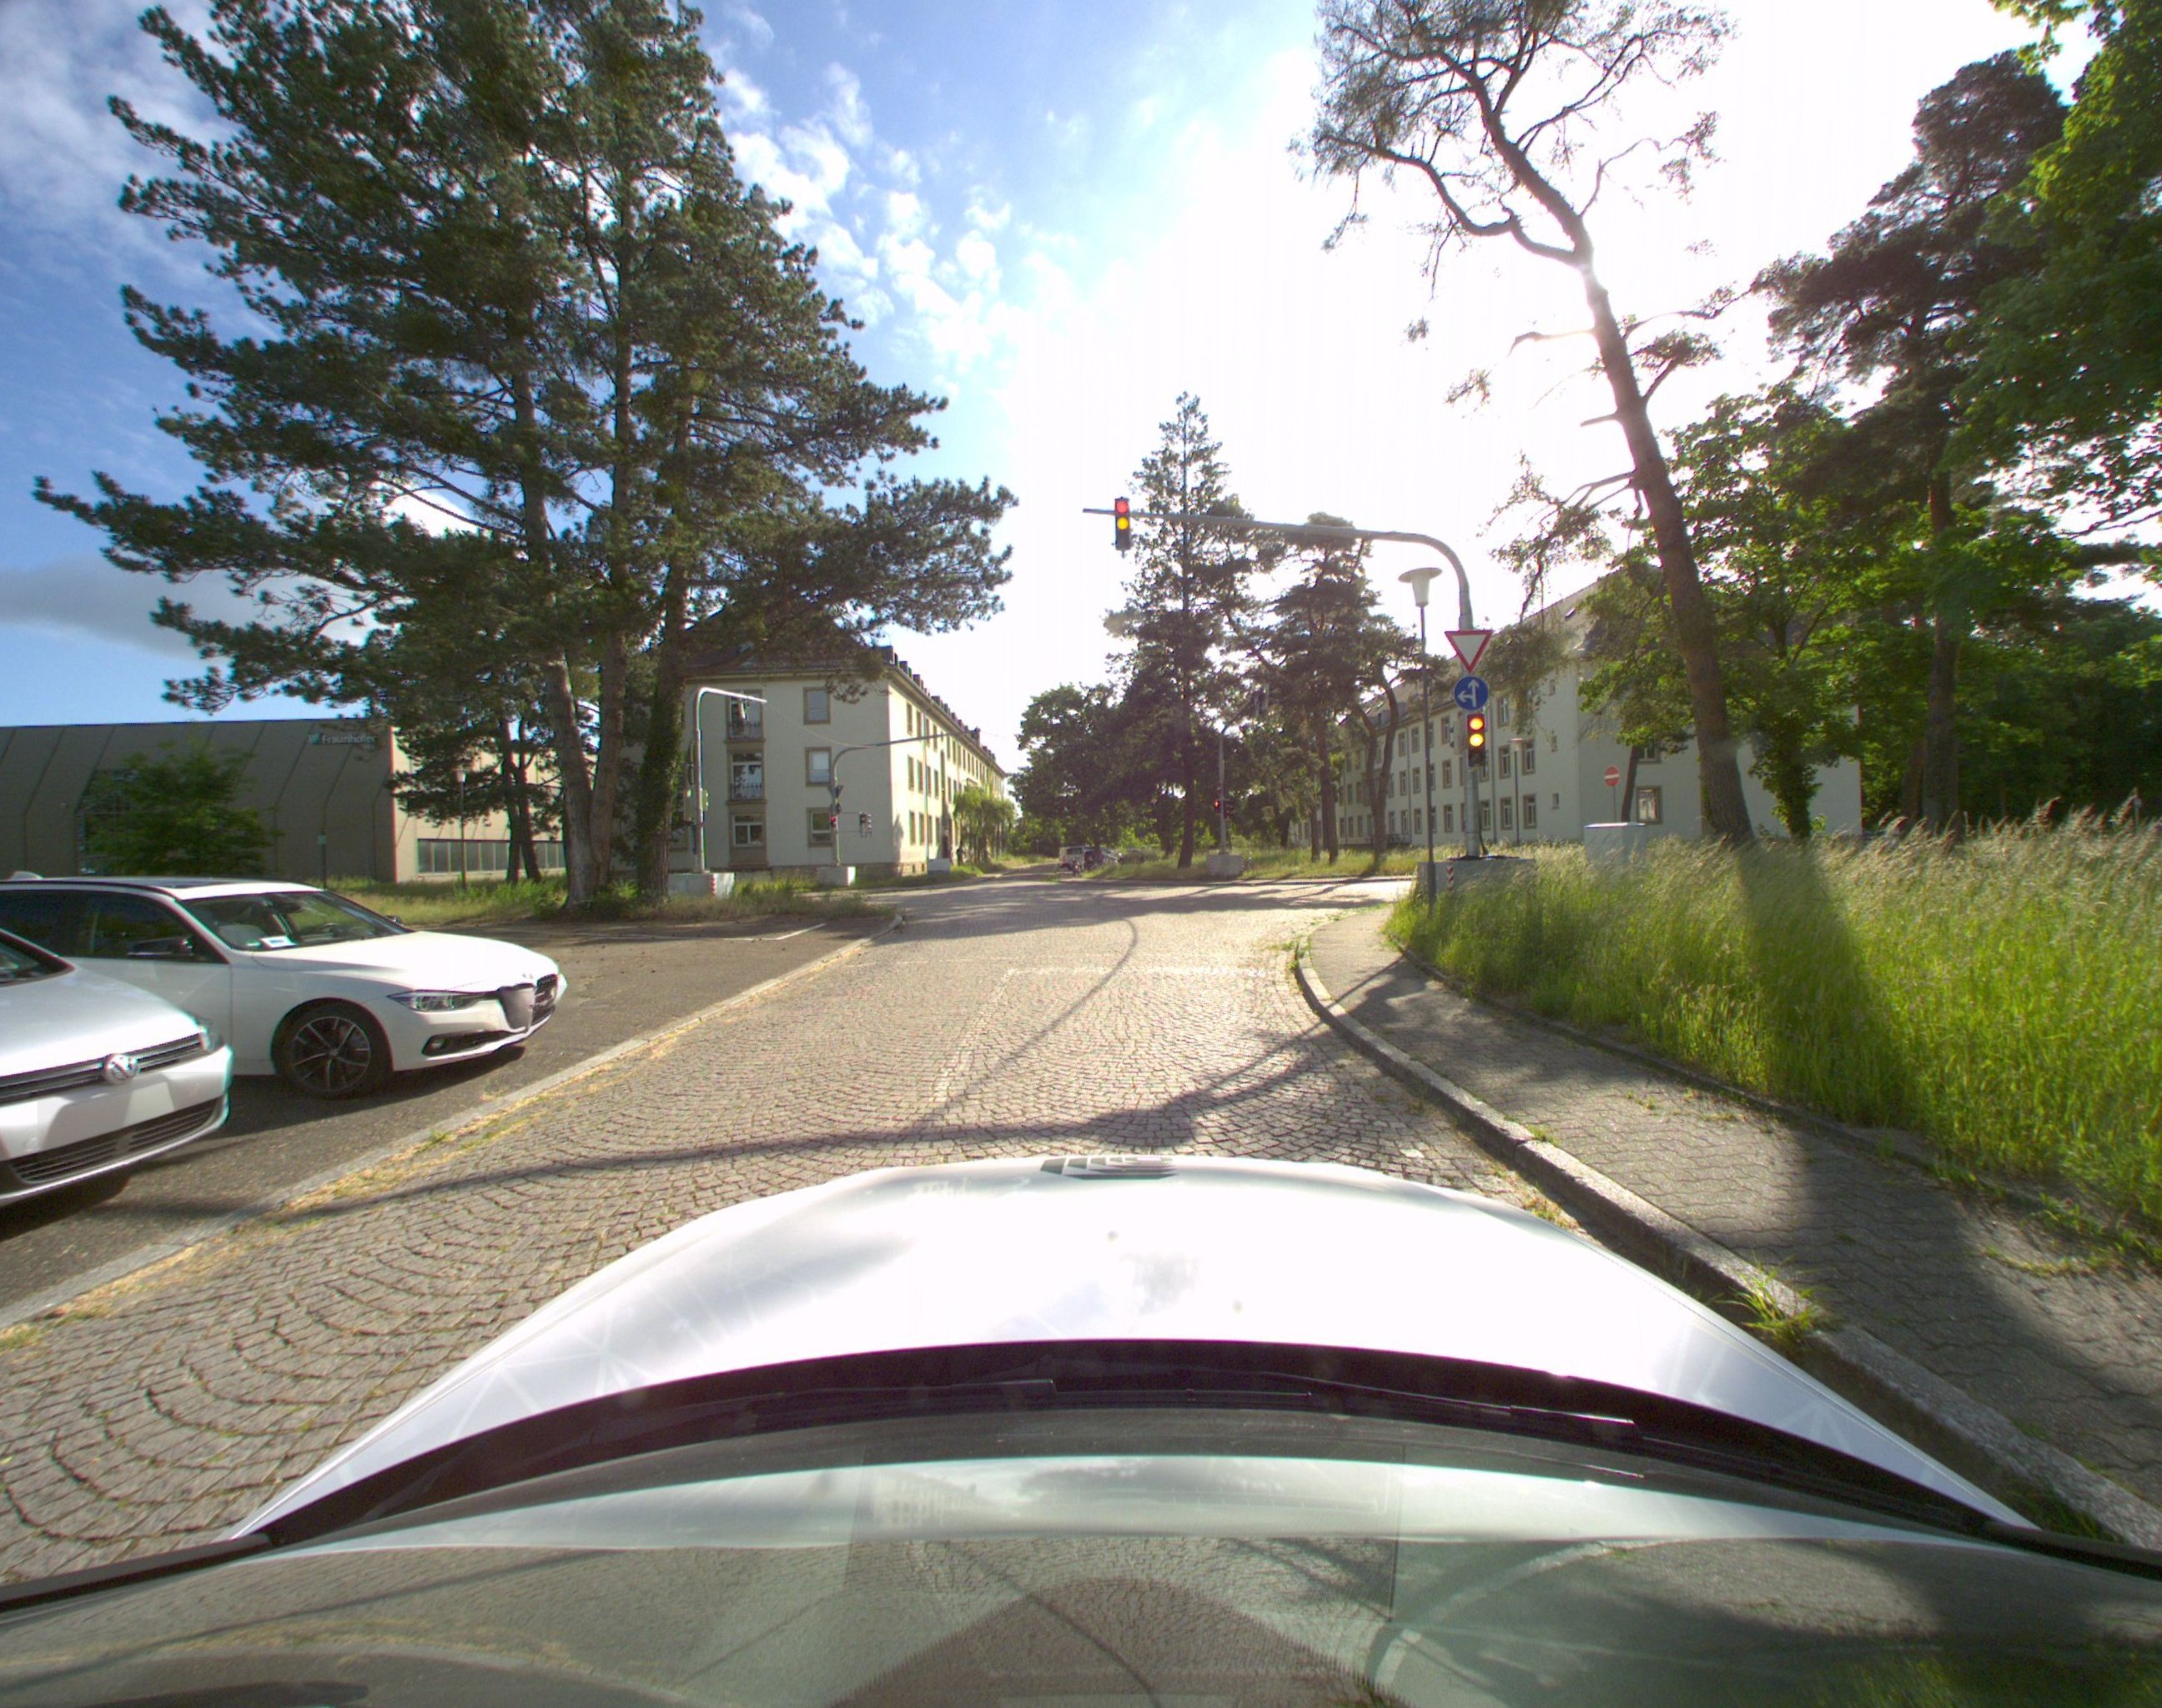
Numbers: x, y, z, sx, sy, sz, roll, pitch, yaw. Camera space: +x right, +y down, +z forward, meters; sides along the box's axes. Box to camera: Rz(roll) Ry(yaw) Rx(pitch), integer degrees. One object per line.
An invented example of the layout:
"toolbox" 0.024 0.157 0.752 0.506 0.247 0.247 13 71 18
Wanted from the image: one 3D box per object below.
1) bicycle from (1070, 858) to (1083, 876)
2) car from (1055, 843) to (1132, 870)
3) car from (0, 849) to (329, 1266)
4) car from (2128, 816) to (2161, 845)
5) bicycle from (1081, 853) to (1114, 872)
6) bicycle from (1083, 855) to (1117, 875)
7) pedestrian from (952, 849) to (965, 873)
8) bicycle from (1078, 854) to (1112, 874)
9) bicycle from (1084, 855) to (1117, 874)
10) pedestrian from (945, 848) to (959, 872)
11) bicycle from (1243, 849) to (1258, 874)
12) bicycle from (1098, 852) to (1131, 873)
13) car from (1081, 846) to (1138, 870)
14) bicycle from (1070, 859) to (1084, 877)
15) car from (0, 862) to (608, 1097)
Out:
"bicycle" -0.278 0.752 46.483 0.693 0.971 1.859 -1 0 -2
"car" 0.968 0.175 66.056 5.925 2.013 2.469 -2 0 -7
"car" -6.262 0.784 3.677 3.936 1.626 1.719 1 0 -5
"car" 57.287 -1.257 42.177 3.978 1.464 1.845 -2 0 -4
"bicycle" 1.034 0.557 51.140 1.938 1.129 0.646 -2 0 -6
"bicycle" 1.137 0.652 48.834 1.936 1.129 0.749 -2 0 -3
"pedestrian" -9.332 0.527 61.955 0.806 1.817 0.557 -2 0 11
"bicycle" 0.863 0.610 50.051 1.951 1.129 0.642 -2 0 -27
"bicycle" 1.131 0.612 48.037 1.850 1.031 0.749 -2 0 -3
"pedestrian" -9.952 0.459 62.797 0.762 1.817 0.684 -2 0 11
"bicycle" 7.465 0.334 35.950 0.464 1.080 1.175 -2 0 4
"bicycle" 2.060 0.510 49.543 1.936 1.235 0.485 -2 0 -3
"car" 2.144 0.274 61.815 3.984 1.684 1.842 -2 0 -8
"bicycle" -0.226 0.763 44.546 0.693 0.971 1.859 -1 0 -2
"car" -6.414 0.843 6.194 4.530 1.467 1.751 1 0 -3
